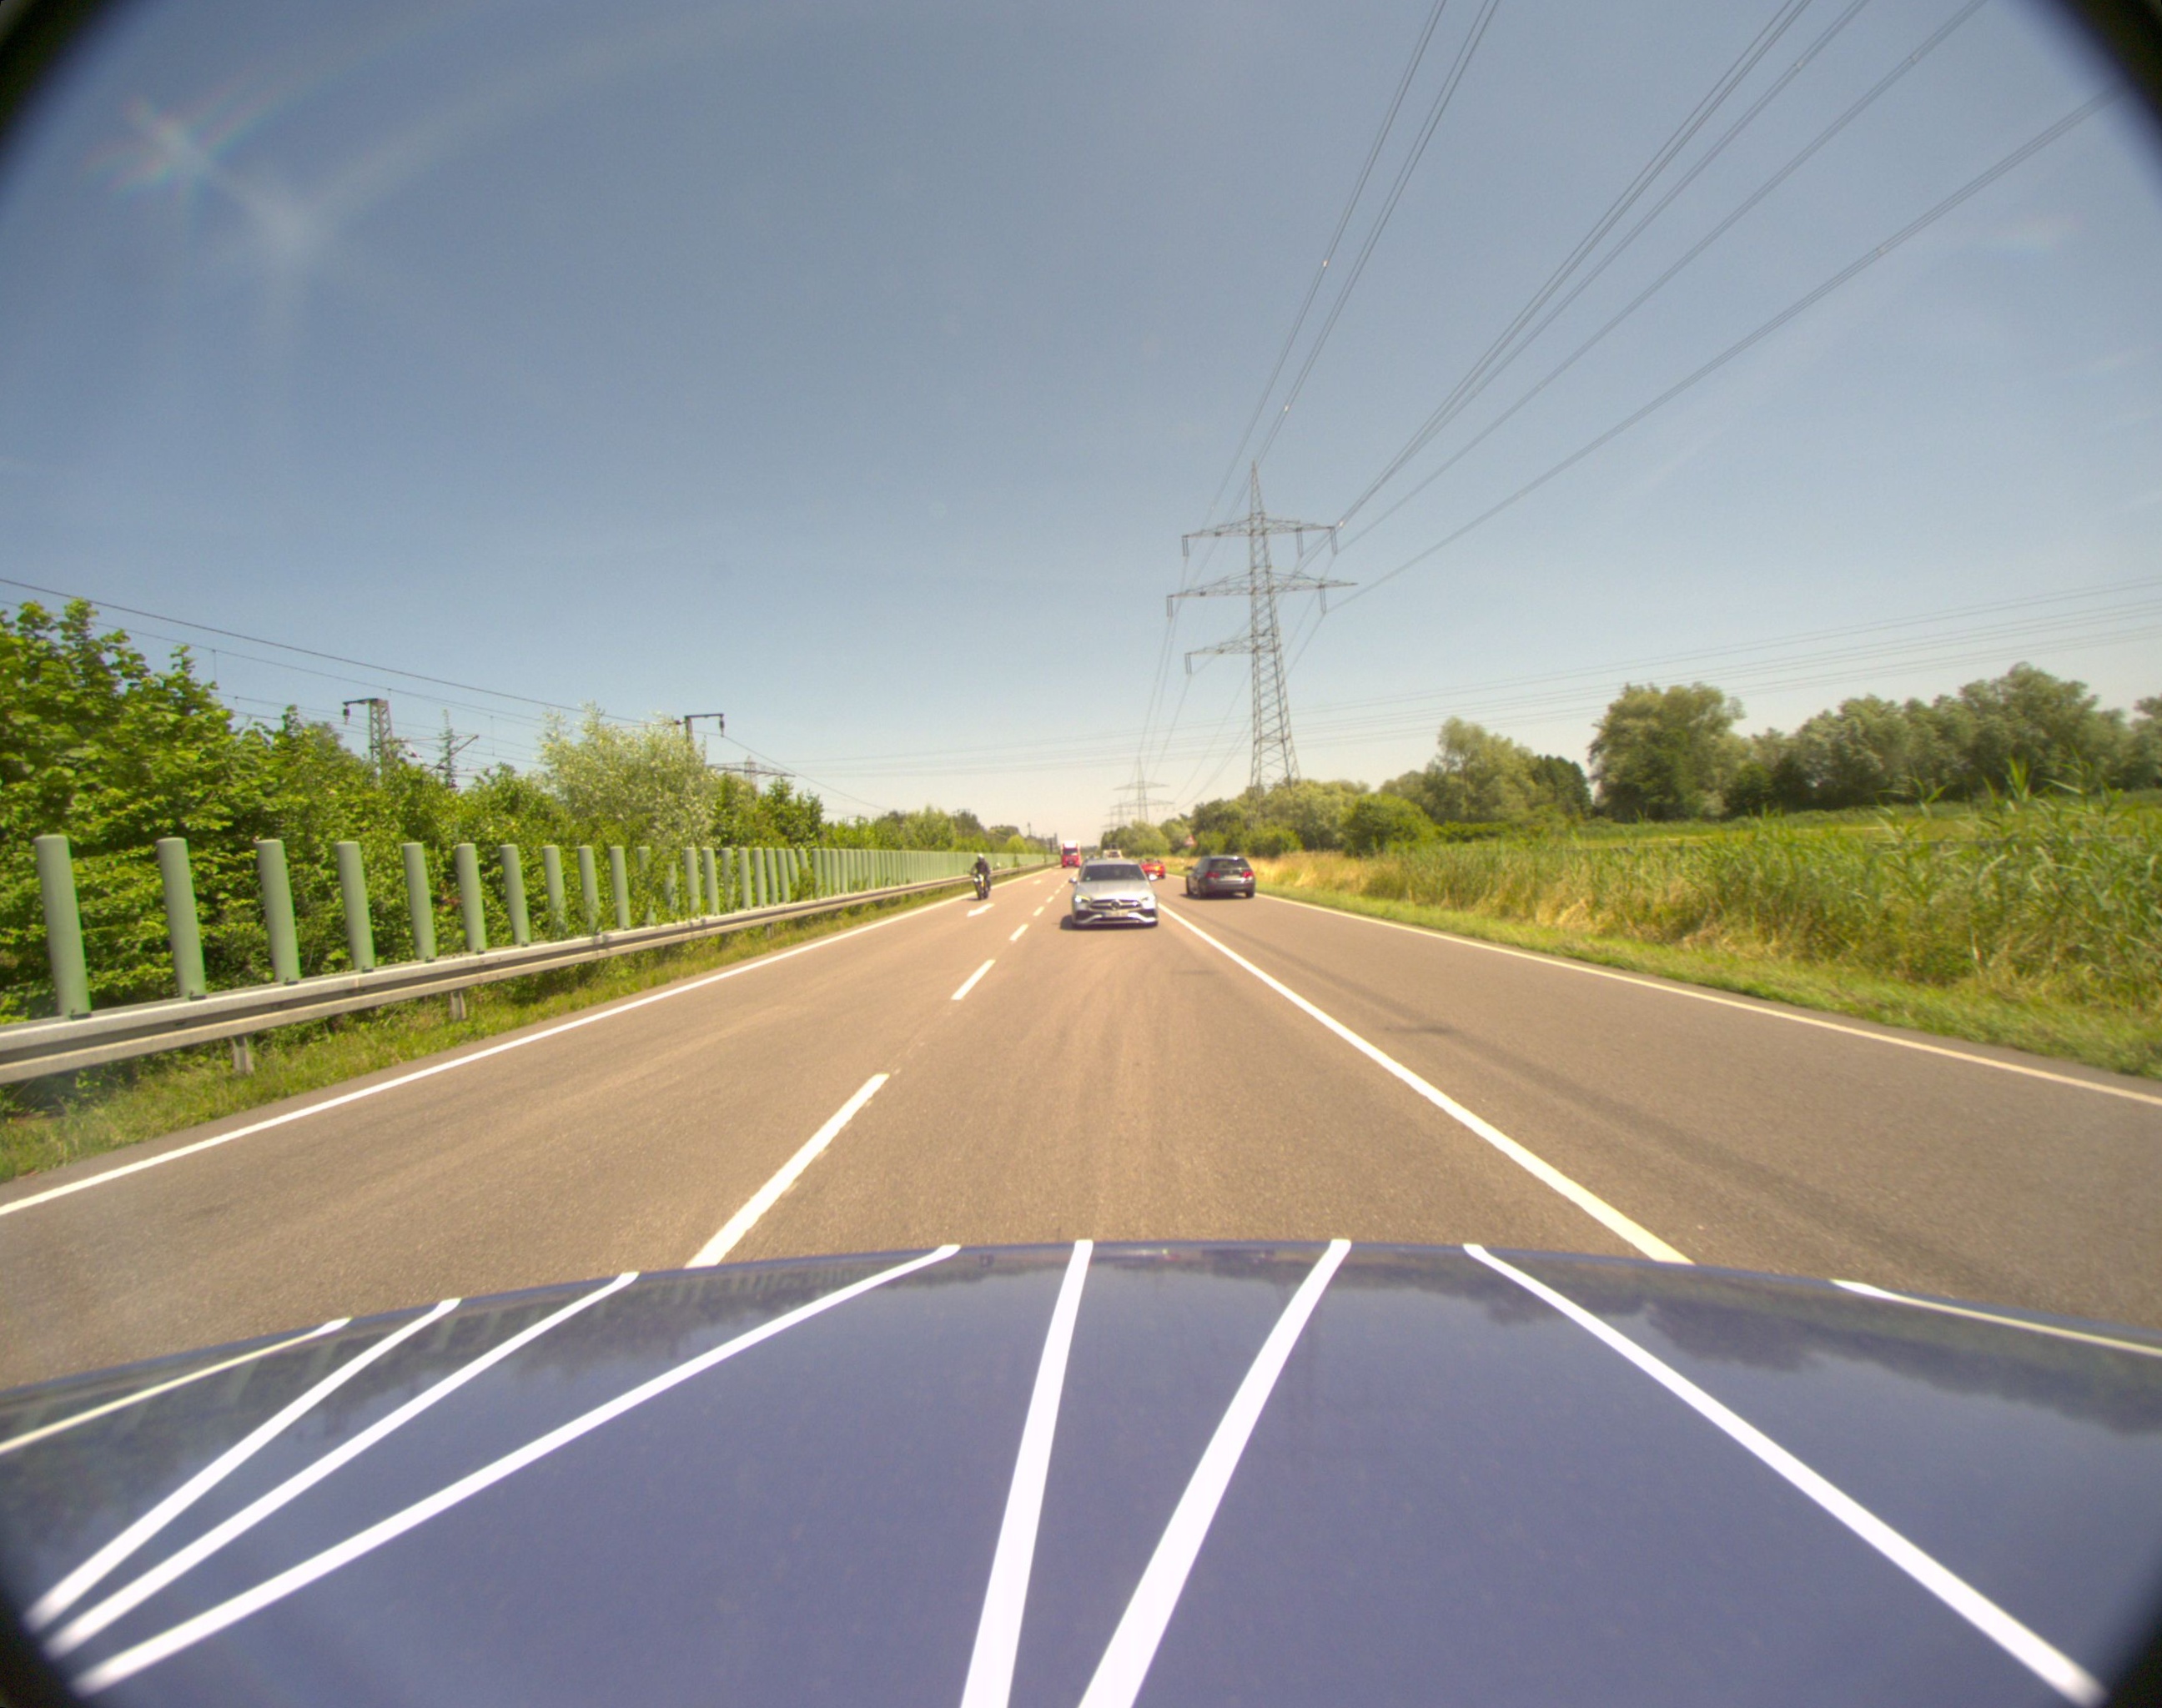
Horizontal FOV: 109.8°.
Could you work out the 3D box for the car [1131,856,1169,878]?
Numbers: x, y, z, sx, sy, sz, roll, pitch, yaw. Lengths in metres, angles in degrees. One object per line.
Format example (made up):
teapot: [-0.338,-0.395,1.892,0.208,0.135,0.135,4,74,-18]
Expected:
car: [4.262,0.757,47.377,1.864,1.221,4.322,-2,0,-1]

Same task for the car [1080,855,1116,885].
car: [0.897,0.801,39.320,1.697,1.385,4.468,-2,0,2]

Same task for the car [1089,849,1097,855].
car: [3.782,-0.642,238.769,2.145,2.002,4.568,-3,0,-2]

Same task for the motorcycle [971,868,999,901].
motorcycle: [-3.649,1.139,28.998,0.792,1.151,1.901,-3,0,0]

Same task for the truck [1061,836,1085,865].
truck: [-0.984,-0.490,104.507,2.907,3.641,7.156,-4,0,1]

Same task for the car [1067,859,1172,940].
car: [0.788,0.894,16.893,1.998,1.437,4.467,-2,0,1]

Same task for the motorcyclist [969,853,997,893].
motorcyclist: [-3.754,0.698,29.142,0.892,1.468,1.002,-2,1,1]

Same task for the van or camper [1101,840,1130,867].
van or camper: [3.817,-0.122,85.500,2.578,2.865,6.744,-2,1,-3]

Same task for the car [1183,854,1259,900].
car: [4.750,0.733,26.330,1.749,1.425,4.322,-2,0,-1]
